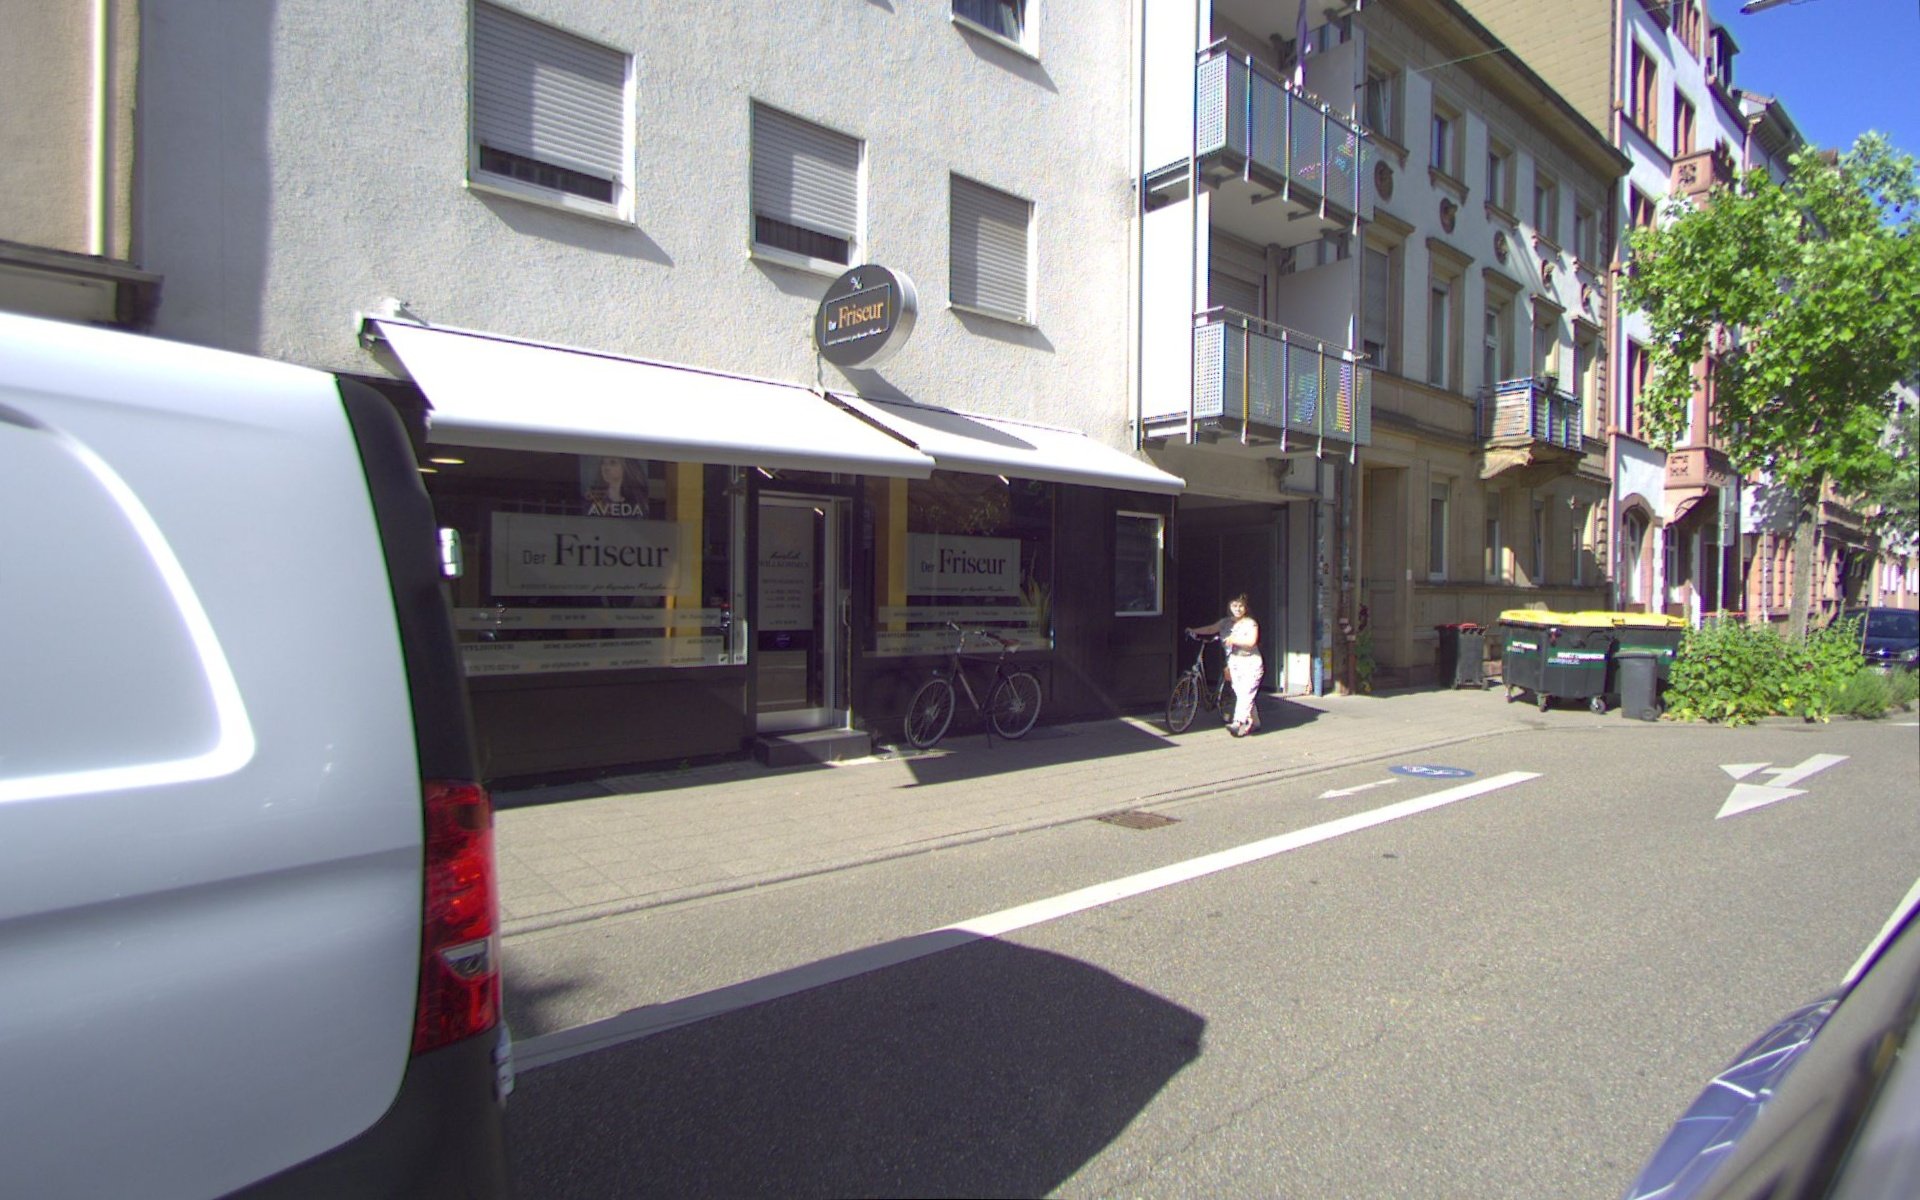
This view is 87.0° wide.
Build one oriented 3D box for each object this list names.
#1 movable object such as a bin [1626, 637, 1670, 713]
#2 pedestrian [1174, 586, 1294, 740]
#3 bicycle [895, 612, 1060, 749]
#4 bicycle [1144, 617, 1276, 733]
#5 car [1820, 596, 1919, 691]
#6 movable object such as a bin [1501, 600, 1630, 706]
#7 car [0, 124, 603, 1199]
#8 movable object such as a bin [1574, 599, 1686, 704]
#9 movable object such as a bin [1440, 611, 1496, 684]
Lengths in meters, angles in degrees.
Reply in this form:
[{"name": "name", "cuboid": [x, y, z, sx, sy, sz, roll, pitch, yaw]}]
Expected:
[{"name": "movable object such as a bin", "cuboid": [9.178, 0.987, 13.497, 0.399, 0.933, 0.478, 3, 3, 41]}, {"name": "pedestrian", "cuboid": [3.021, 0.654, 11.158, 0.930, 1.556, 0.825, 0, 4, -40]}, {"name": "bicycle", "cuboid": [0.202, 0.724, 9.735, 1.760, 1.193, 0.402, 0, 0, -40]}, {"name": "bicycle", "cuboid": [2.785, 0.783, 11.174, 1.760, 1.146, 0.402, 0, 4, -40]}, {"name": "car", "cuboid": [16.454, 0.698, 17.807, 3.293, 1.510, 1.550, 0, 1, -41]}, {"name": "movable object such as a bin", "cuboid": [8.451, 0.716, 14.189, 1.030, 1.341, 1.216, 1, 3, 1]}, {"name": "car", "cuboid": [-2.948, 0.450, 0.504, 4.910, 1.892, 1.839, 0, 1, -42]}, {"name": "movable object such as a bin", "cuboid": [9.568, 0.702, 14.510, 0.943, 1.365, 1.066, 1, 3, 11]}, {"name": "movable object such as a bin", "cuboid": [8.146, 0.756, 16.236, 0.557, 1.094, 0.617, 1, 3, 1]}]
